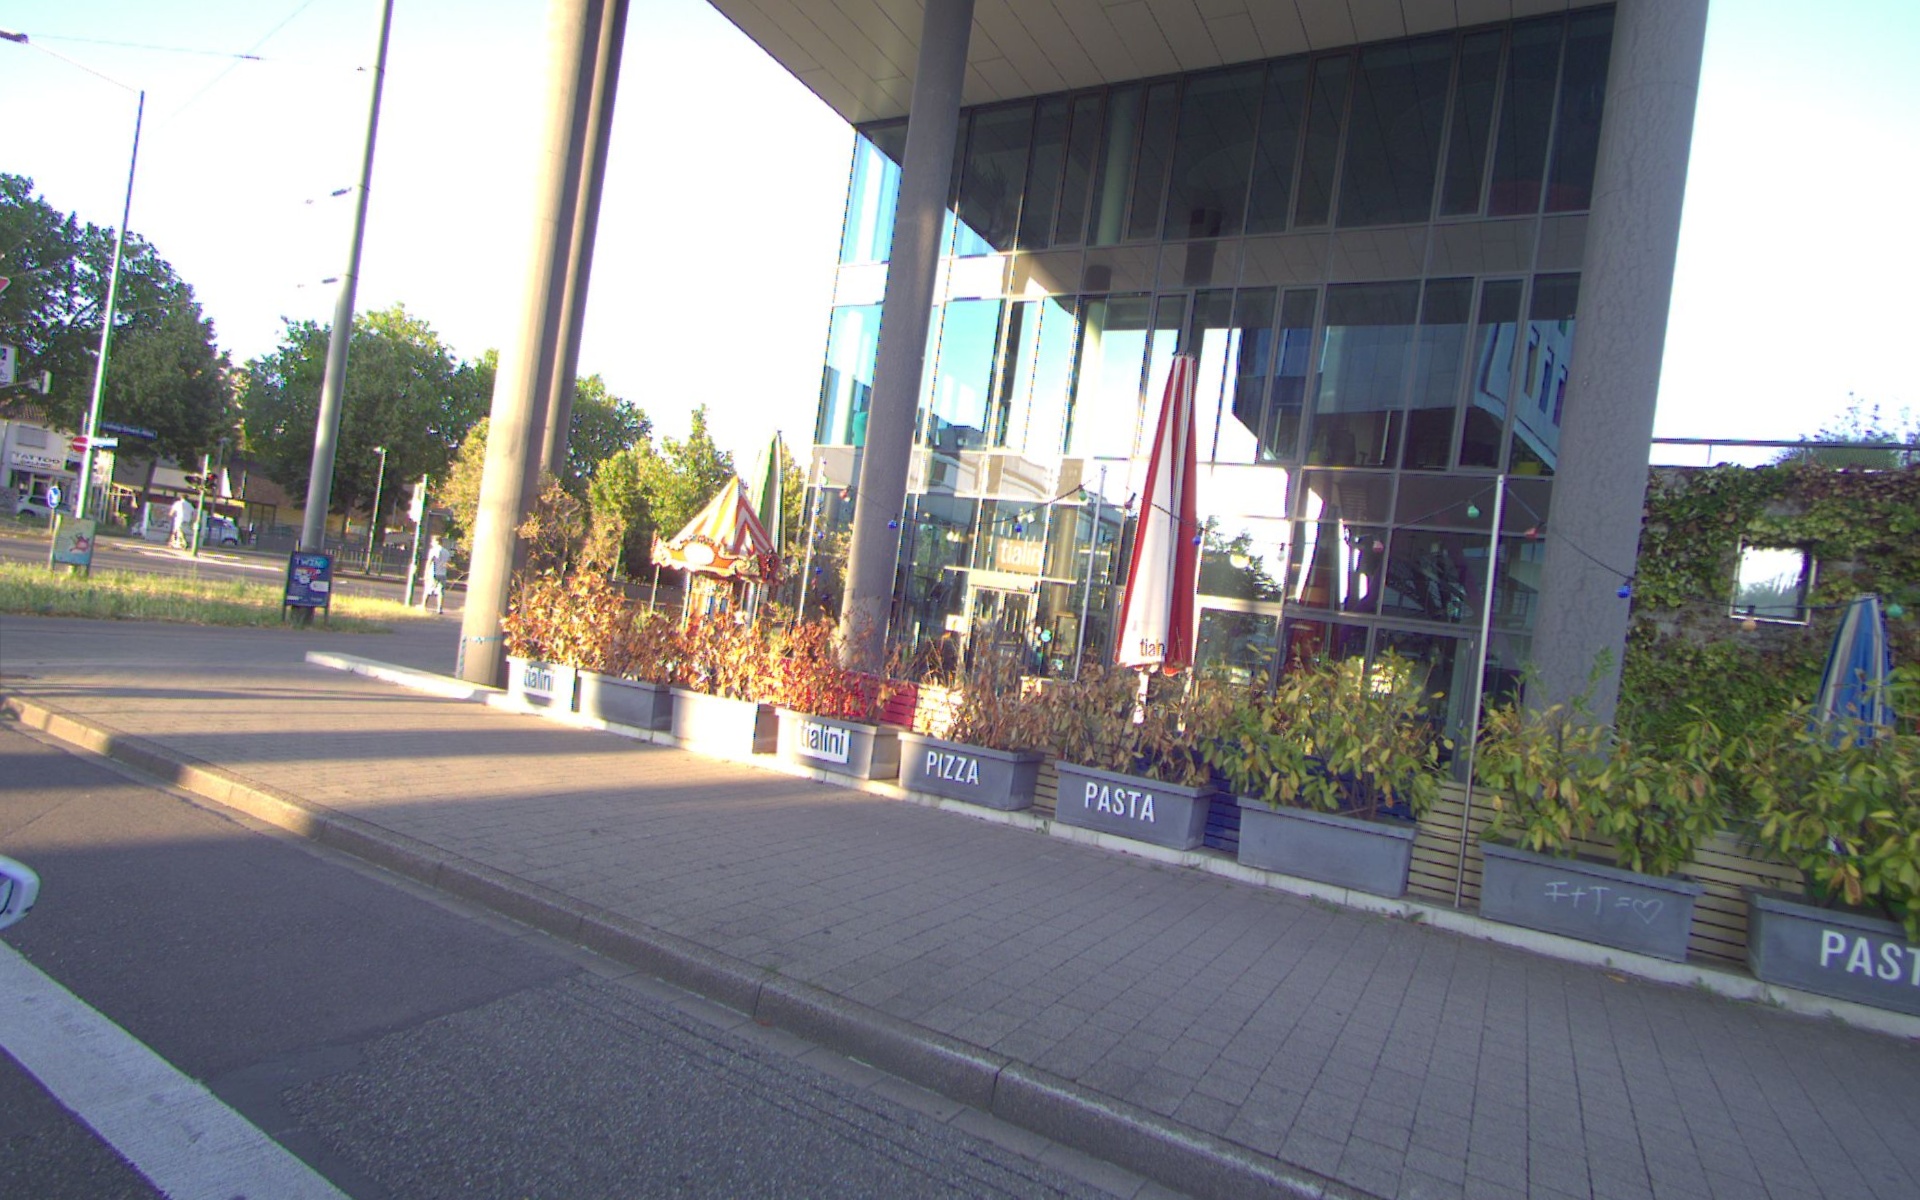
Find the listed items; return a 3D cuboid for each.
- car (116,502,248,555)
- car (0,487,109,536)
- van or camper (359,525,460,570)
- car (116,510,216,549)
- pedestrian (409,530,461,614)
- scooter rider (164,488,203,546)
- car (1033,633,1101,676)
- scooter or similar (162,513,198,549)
[{"bbox_3d":[-37.374,-3.398,48.436,1.829,1.748,4.547,7,-2,28],"label":"car"},{"bbox_3d":[-50.565,-4.912,56.089,1.968,1.868,4.236,7,-2,34],"label":"car"},{"bbox_3d":[-43.935,-4.159,80.427,2.229,2.438,6.569,7,-2,36],"label":"van or camper"},{"bbox_3d":[-47.762,-4.235,60.616,1.968,1.595,4.236,7,-2,34],"label":"car"},{"bbox_3d":[-12.129,-0.646,23.236,0.757,1.812,0.794,8,-1,-35],"label":"pedestrian"},{"bbox_3d":[-27.105,-2.885,35.103,0.658,1.876,0.703,7,-1,31],"label":"scooter rider"},{"bbox_3d":[5.972,3.025,55.619,1.826,1.849,4.390,10,0,31],"label":"car"},{"bbox_3d":[-27.167,-2.410,35.034,1.222,1.103,0.511,7,-1,32],"label":"scooter or similar"}]
